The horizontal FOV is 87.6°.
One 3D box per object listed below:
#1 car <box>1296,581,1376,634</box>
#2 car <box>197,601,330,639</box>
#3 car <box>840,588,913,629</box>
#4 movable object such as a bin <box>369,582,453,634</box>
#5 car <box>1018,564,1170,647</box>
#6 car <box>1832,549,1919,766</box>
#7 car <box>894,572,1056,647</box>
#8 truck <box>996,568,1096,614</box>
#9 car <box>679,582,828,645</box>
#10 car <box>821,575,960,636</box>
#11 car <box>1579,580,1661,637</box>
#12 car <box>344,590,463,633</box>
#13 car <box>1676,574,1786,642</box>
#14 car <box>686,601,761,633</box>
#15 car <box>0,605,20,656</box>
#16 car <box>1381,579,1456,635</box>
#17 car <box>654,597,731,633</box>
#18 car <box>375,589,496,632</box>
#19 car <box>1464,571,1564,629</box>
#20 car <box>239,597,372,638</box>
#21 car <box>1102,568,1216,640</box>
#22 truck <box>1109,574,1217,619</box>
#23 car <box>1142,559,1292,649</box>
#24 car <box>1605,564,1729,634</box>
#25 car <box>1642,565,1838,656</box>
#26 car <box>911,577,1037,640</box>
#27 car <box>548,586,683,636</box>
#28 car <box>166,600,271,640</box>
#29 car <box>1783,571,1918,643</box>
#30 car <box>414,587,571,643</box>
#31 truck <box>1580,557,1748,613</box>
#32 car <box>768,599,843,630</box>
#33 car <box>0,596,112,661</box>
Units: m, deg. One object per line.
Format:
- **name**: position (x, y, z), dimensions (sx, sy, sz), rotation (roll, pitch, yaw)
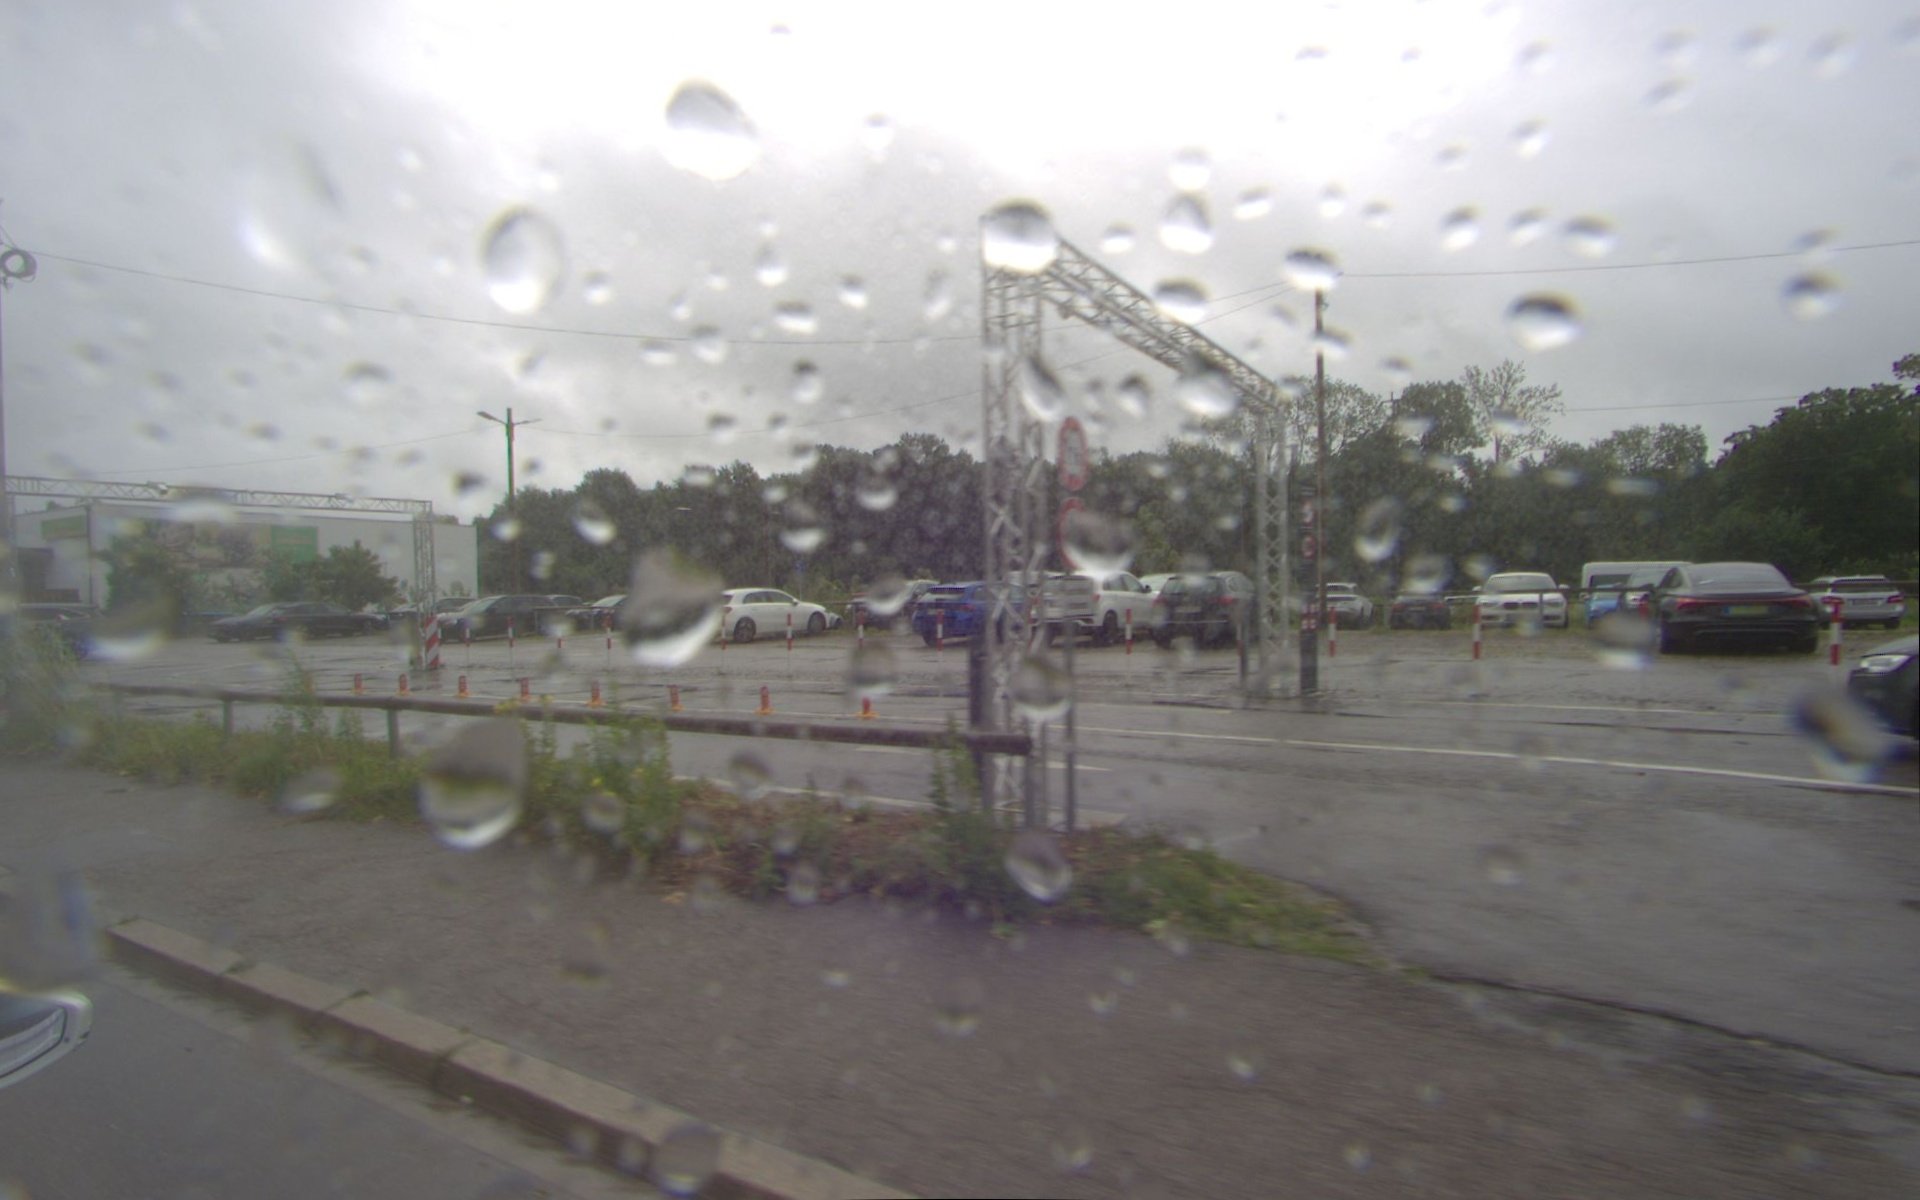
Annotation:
- **car**: position (13.266, 0.218, 35.180), dimensions (1.990, 1.744, 4.311), rotation (-1, 1, 29)
- **car**: position (-28.170, 0.805, 40.609), dimensions (1.972, 1.427, 3.978), rotation (-2, -1, 33)
- **car**: position (-3.832, 0.361, 46.673), dimensions (1.760, 1.793, 3.988), rotation (0, 1, 23)
- **movable object such as a bin**: position (-32.907, 0.469, 60.104), dimensions (1.971, 3.032, 3.980), rotation (0, 1, 31)
- **car**: position (3.094, 0.084, 22.468), dimensions (1.763, 1.605, 3.889), rotation (-2, 2, 35)
- **car**: position (8.151, 0.366, 5.895), dimensions (1.874, 1.476, 4.202), rotation (-3, 2, -32)
- **car**: position (0.453, 0.178, 23.937), dimensions (1.902, 1.504, 4.031), rotation (-2, 2, 35)
- **truck**: position (4.647, -0.474, 54.413), dimensions (5.010, 2.434, 2.067), rotation (0, 2, 32)
- **car**: position (-5.775, 0.346, 28.330), dimensions (1.902, 1.504, 3.816), rotation (-2, 2, 35)
- **car**: position (-2.070, 0.133, 31.380), dimensions (1.900, 1.627, 4.689), rotation (-2, 2, 33)
- **car**: position (20.537, 0.224, 31.291), dimensions (1.785, 1.667, 4.182), rotation (-1, 1, 29)
- **car**: position (-26.047, 0.506, 47.019), dimensions (2.013, 1.695, 4.433), rotation (-2, 2, 29)
- **car**: position (22.627, 0.191, 29.540), dimensions (1.970, 1.855, 3.981), rotation (-1, 1, 29)
- **car**: position (-12.015, 0.854, 51.124), dimensions (1.684, 1.513, 3.988), rotation (0, 1, 23)
- **car**: position (-30.689, 0.931, 29.323), dimensions (1.794, 1.536, 4.287), rotation (-2, -1, 32)
- **car**: position (15.613, 0.194, 34.013), dimensions (1.990, 1.744, 4.311), rotation (-1, 1, 29)
- **car**: position (-14.055, 0.759, 52.840), dimensions (1.866, 1.751, 3.988), rotation (0, 1, 23)
- **car**: position (-23.819, 0.449, 45.629), dimensions (2.013, 1.695, 4.433), rotation (-2, 2, 29)
- **car**: position (12.679, -0.042, 22.899), dimensions (1.805, 1.086, 4.052), rotation (-2, 2, 30)
- **car**: position (-25.953, 0.680, 39.831), dimensions (1.972, 1.504, 3.978), rotation (-2, -1, 33)
- **car**: position (5.469, 0.068, 27.127), dimensions (1.805, 1.682, 4.052), rotation (-2, 2, 30)
- **truck**: position (10.289, -0.187, 50.890), dimensions (5.018, 2.167, 2.064), rotation (0, 2, 37)
- **car**: position (5.389, 0.034, 20.670), dimensions (1.763, 1.605, 3.761), rotation (-2, 2, 35)
- **car**: position (14.970, -0.029, 21.382), dimensions (1.729, 1.350, 3.981), rotation (-1, 0, 29)
- **car**: position (12.575, 0.109, 16.449), dimensions (1.950, 1.237, 4.578), rotation (-2, 1, 31)
- **car**: position (0.499, 0.209, 30.036), dimensions (1.900, 1.627, 4.049), rotation (-2, 2, 33)
- **car**: position (-13.197, 0.375, 38.658), dimensions (2.014, 1.627, 4.691), rotation (-2, 2, 31)
- **car**: position (-38.278, 0.984, 51.796), dimensions (1.804, 1.948, 3.980), rotation (1, 1, 31)
- **car**: position (24.856, 0.152, 28.123), dimensions (1.970, 1.855, 3.981), rotation (-1, 1, 29)
- **car**: position (-15.767, 0.496, 34.052), dimensions (1.987, 1.738, 4.618), rotation (-2, -1, 26)
- **truck**: position (27.244, -0.556, 38.986), dimensions (5.205, 2.041, 2.075), rotation (0, 2, 34)
- **car**: position (-7.436, 0.675, 48.668), dimensions (1.760, 1.419, 3.988), rotation (0, 1, 23)
- **car**: position (-27.367, 0.831, 28.401), dimensions (2.101, 1.758, 4.664), rotation (-2, 0, 36)
